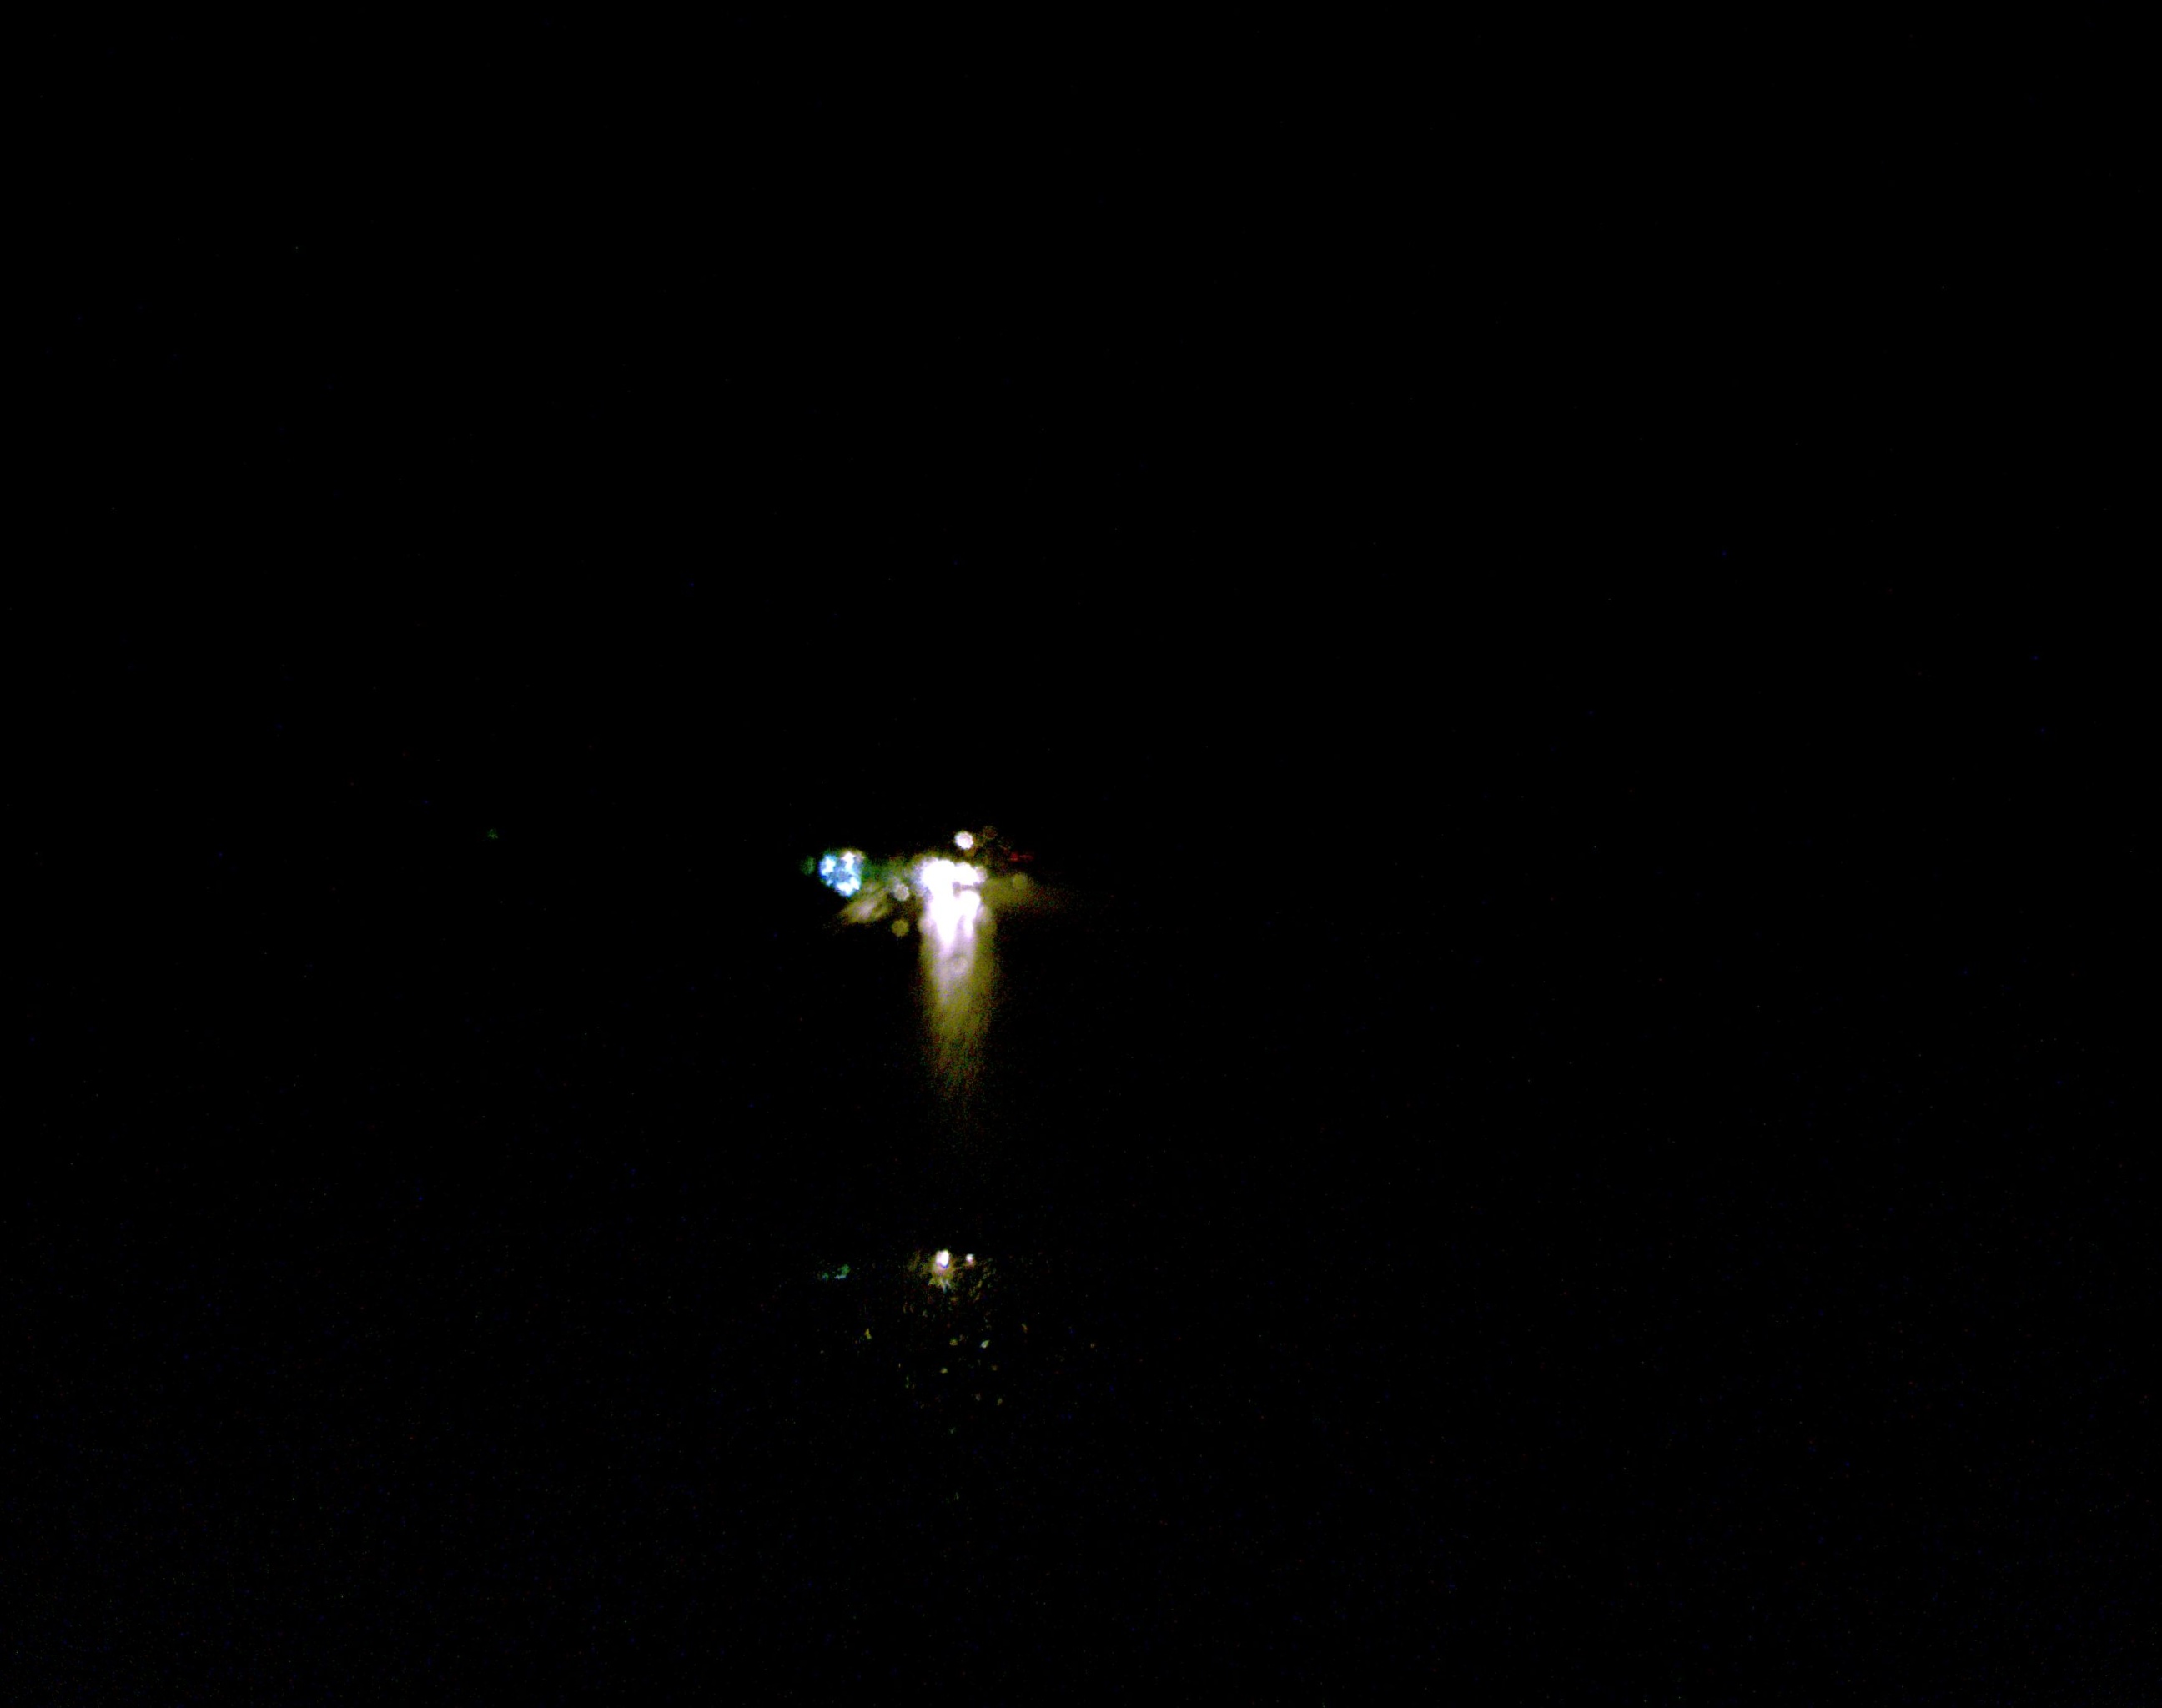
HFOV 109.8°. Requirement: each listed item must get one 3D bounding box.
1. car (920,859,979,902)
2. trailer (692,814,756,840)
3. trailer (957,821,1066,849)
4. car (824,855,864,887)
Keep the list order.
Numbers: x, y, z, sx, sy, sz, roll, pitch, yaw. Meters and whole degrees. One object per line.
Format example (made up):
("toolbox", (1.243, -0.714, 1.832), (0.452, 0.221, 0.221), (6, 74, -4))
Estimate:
("car", (-5.984, 1.149, 34.211), (1.896, 1.603, 3.991), (-1, 3, -21))
("trailer", (-56.090, -4.295, 119.054), (13.323, 3.857, 3.457), (2, 4, 39))
("trailer", (-7.688, -2.095, 82.098), (12.975, 2.713, 2.003), (2, 3, 30))
("car", (-17.549, 1.222, 56.144), (2.002, 2.003, 3.990), (-7, 5, -27))
